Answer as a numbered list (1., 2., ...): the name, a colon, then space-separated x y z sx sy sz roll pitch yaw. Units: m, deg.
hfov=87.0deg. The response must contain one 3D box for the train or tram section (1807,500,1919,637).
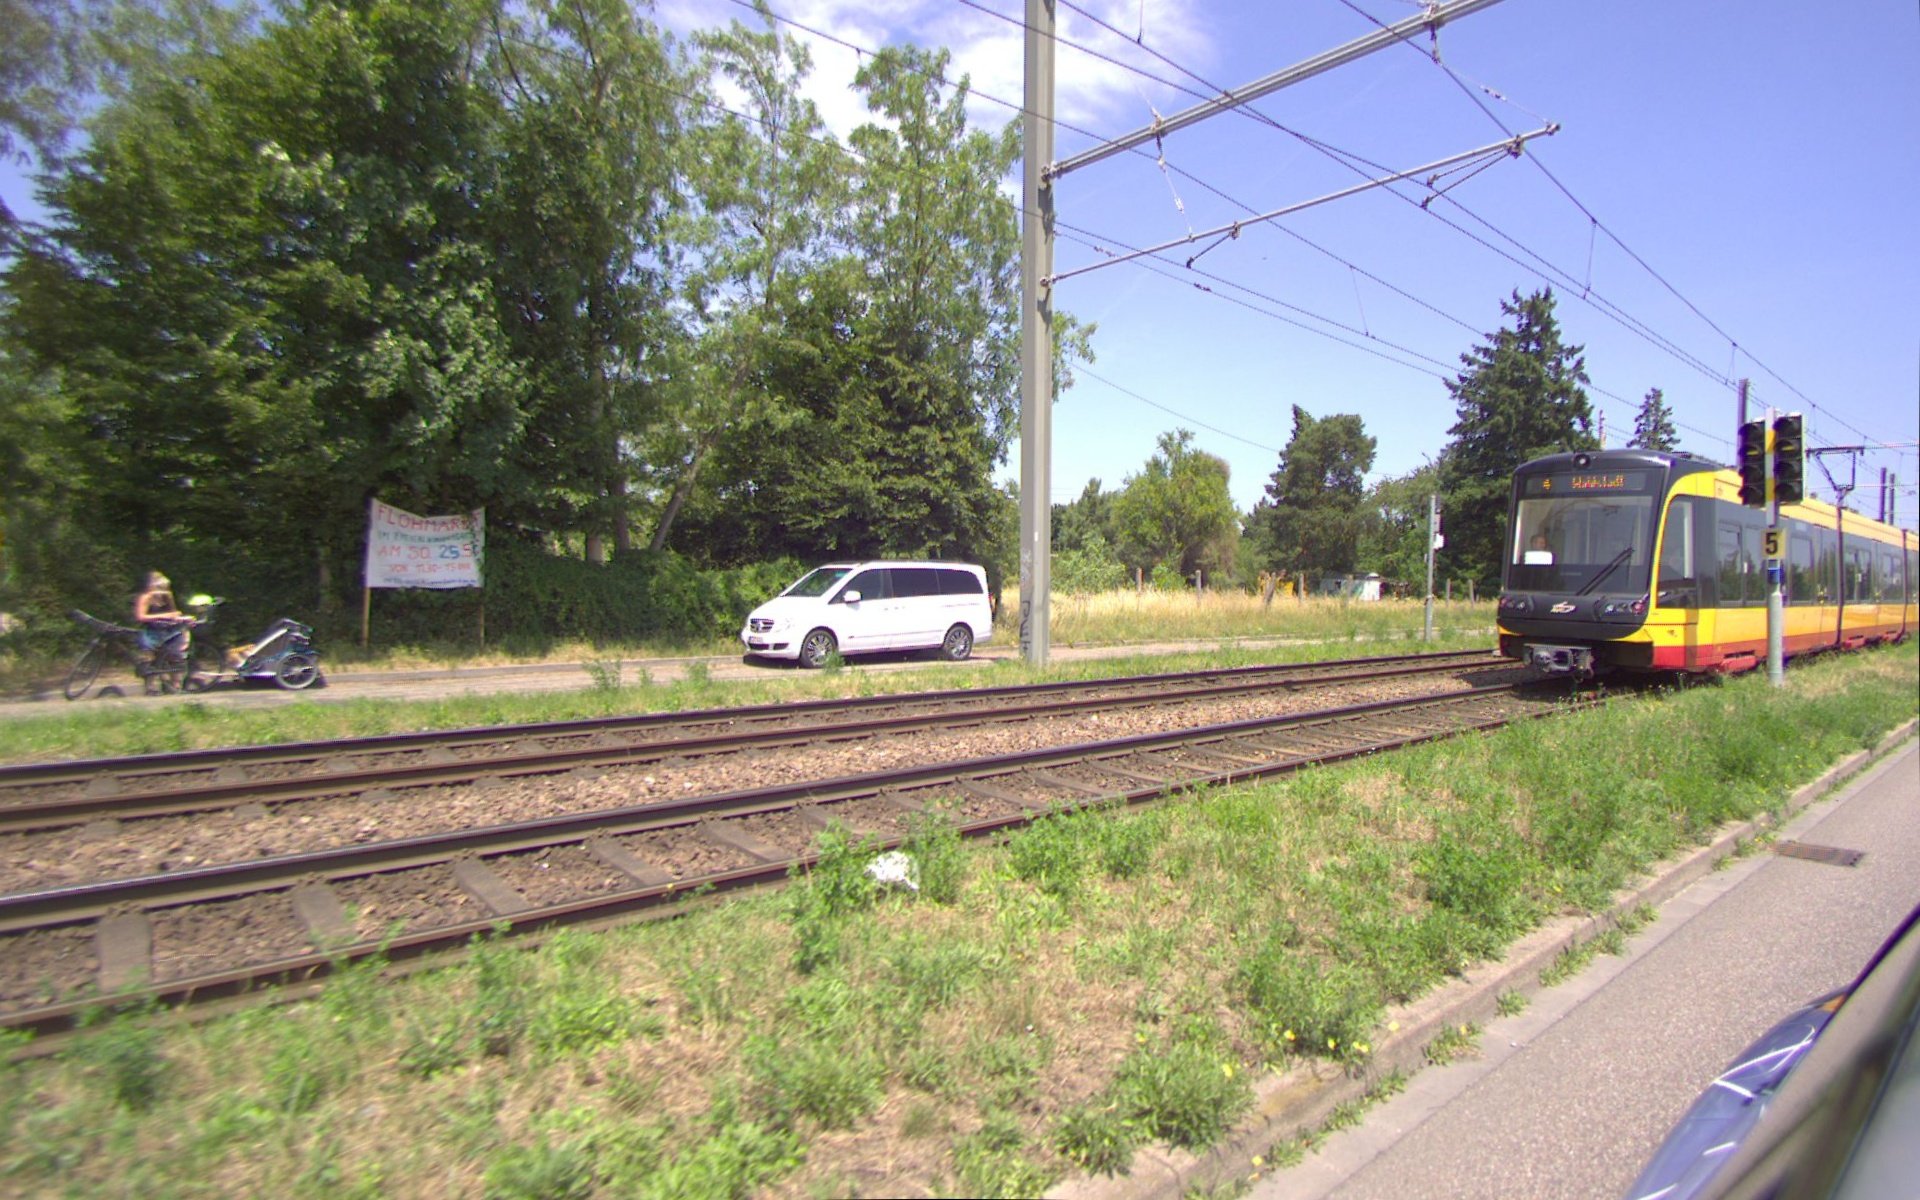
1. train or tram section: 30.260 -1.038 32.848 11.358 3.812 2.434 -1 3 -41

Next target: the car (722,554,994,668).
1. car: -1.840 0.111 19.292 4.927 1.898 1.997 -1 3 -41

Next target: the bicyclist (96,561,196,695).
1. bicyclist: -10.260 0.321 12.771 0.609 1.608 0.911 2 2 44

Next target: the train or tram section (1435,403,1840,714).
1. train or tram section: 11.790 -0.649 16.865 10.992 3.734 2.771 -1 3 -41

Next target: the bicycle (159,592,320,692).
1. bicycle: -9.483 0.510 13.338 1.629 1.160 1.147 -1 3 -41

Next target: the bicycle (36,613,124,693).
1. bicycle: -10.762 0.629 12.393 0.784 0.886 0.750 -1 3 -41

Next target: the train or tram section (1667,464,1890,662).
1. train or tram section: 18.455 -0.819 22.668 6.612 3.812 2.707 -1 3 -41

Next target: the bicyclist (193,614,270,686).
1. bicyclist: -9.747 0.656 13.542 0.522 0.886 0.750 2 3 44

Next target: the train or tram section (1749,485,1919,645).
1. train or tram section: 23.475 -0.936 26.967 6.612 3.759 2.566 -1 3 -41
